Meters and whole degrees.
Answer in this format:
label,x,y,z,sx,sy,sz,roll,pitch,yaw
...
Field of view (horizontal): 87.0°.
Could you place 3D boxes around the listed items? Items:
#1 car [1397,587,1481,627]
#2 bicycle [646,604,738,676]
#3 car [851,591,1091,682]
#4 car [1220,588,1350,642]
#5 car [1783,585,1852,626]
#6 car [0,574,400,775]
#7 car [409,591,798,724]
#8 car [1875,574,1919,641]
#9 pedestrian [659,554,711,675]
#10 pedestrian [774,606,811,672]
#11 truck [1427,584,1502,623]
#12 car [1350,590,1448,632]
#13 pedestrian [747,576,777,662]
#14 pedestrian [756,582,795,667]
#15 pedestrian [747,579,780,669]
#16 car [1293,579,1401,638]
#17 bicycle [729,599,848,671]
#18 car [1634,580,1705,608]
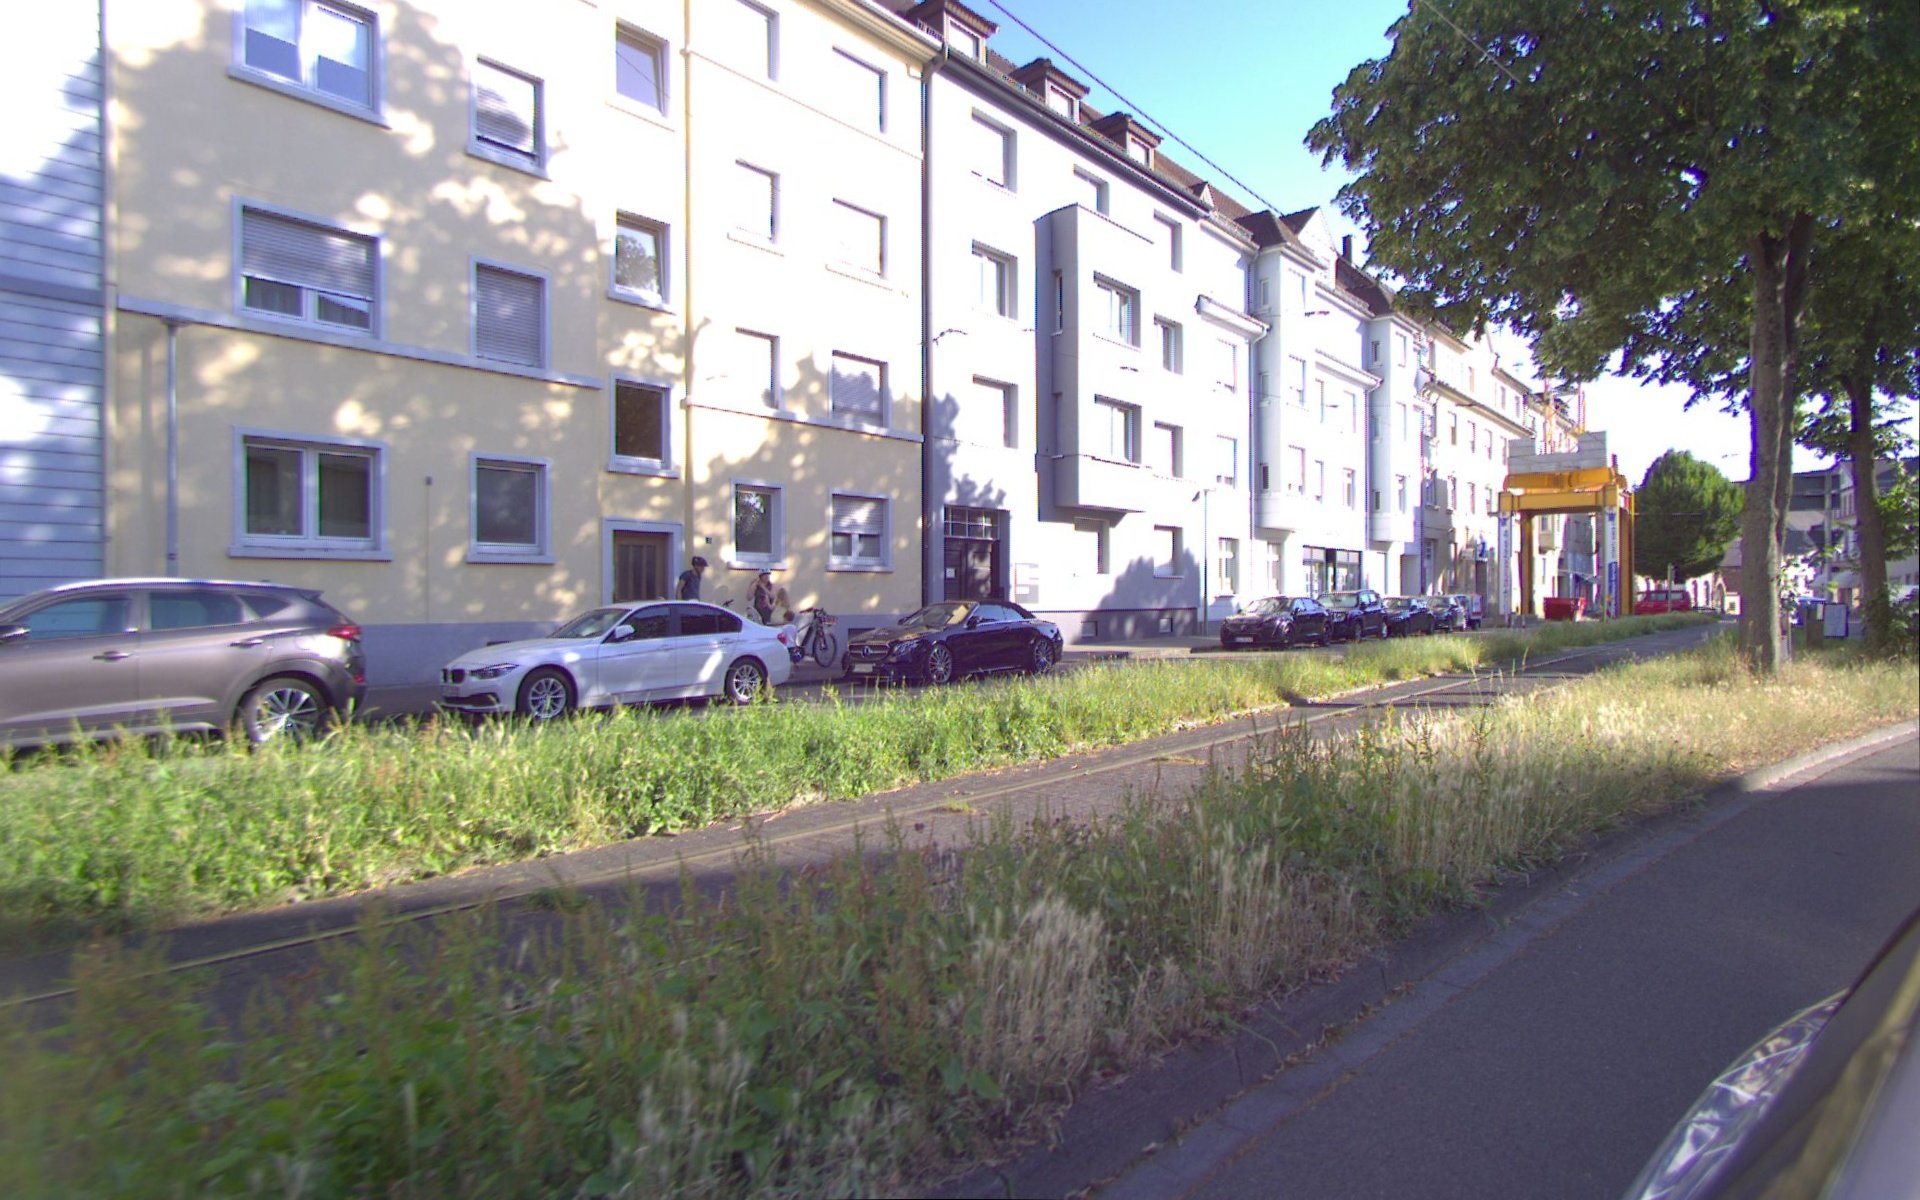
label,x,y,z,sx,sy,sz,roll,pitch,yaw
car,18.995,0.259,40.067,1.992,1.471,4.036,1,0,41
bicycle,-4.595,0.658,17.418,0.534,1.145,1.494,1,1,40
car,0.321,0.569,18.184,1.991,1.404,4.381,1,0,40
car,9.259,0.391,28.645,1.991,1.404,4.381,1,0,40
car,33.902,0.190,40.092,1.991,1.538,4.013,1,0,39
car,-7.911,0.563,9.189,1.991,1.591,4.574,1,2,40
car,-4.432,0.613,13.137,1.991,1.404,4.381,1,0,40
car,27.768,0.220,27.916,1.975,1.877,4.871,1,0,19
pedestrian,-4.751,0.241,17.505,0.611,2.039,0.640,0,0,41
pedestrian,-2.845,0.651,17.185,0.431,1.079,0.454,0,0,42
truck,21.981,0.143,43.993,1.992,1.605,4.036,1,0,41
car,15.797,0.360,36.335,1.993,1.404,4.144,1,0,43
pedestrian,-3.611,0.338,18.488,0.303,1.534,0.438,1,1,33
pedestrian,-3.232,0.416,17.759,0.523,1.458,0.454,0,0,42
pedestrian,-3.401,0.409,17.487,0.331,1.534,0.437,1,1,37
car,12.513,0.240,32.550,1.991,1.771,4.148,1,0,40
bicycle,-3.005,0.578,17.980,0.534,1.145,2.275,0,2,40
car,50.532,-0.461,72.087,4.052,1.945,1.972,1,0,39
